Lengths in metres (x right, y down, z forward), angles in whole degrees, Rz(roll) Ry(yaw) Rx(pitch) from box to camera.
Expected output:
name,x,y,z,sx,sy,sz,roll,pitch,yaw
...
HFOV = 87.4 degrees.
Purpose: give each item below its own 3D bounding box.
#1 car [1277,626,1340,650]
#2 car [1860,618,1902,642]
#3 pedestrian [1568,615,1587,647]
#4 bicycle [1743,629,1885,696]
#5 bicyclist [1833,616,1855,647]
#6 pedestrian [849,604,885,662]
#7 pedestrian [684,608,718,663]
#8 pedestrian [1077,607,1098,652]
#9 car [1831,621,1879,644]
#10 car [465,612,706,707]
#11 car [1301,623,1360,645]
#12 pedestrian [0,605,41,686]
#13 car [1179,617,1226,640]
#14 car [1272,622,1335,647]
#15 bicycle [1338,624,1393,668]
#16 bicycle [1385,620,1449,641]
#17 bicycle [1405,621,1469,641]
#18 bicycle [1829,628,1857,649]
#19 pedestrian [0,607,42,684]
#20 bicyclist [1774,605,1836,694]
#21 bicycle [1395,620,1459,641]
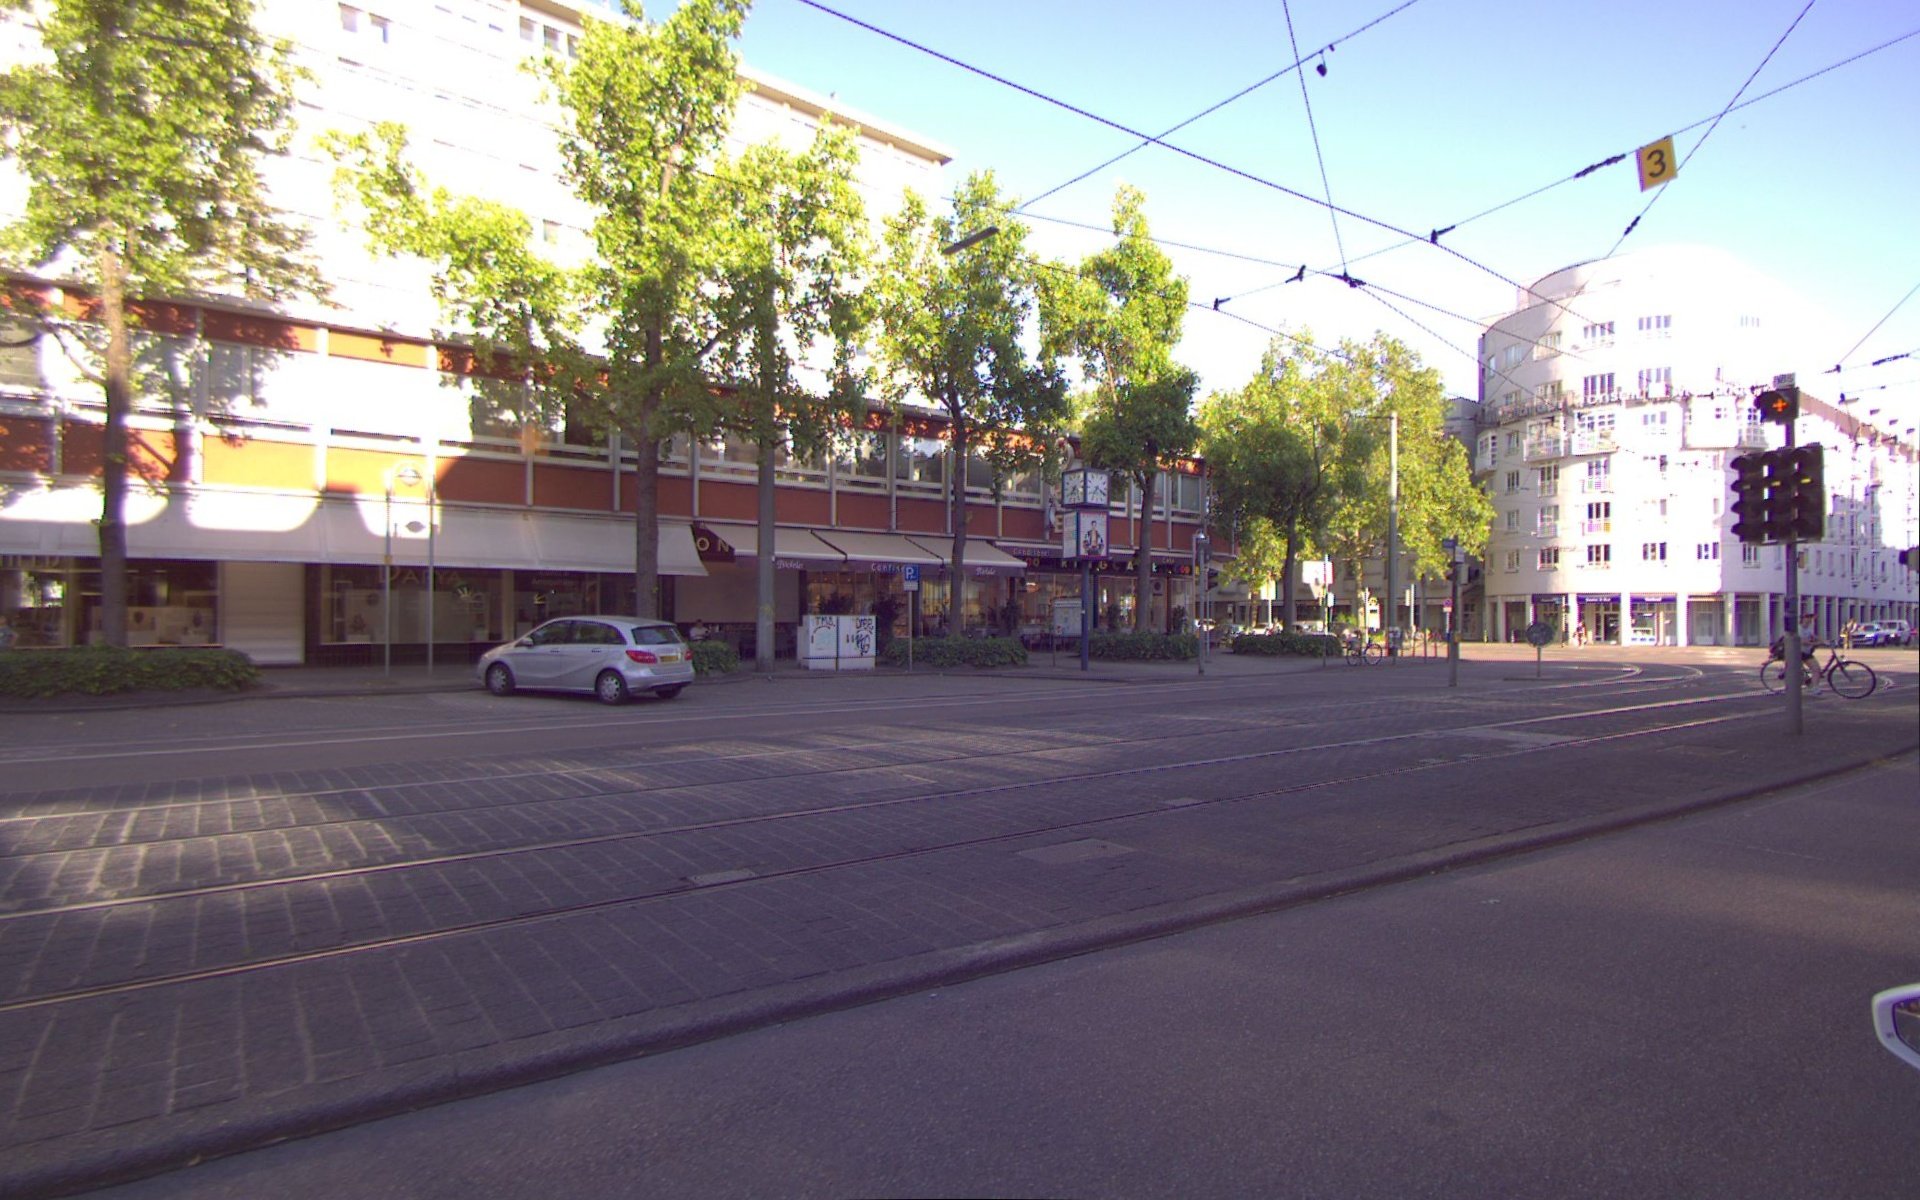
name,x,y,z,sx,sy,sz,roll,pitch,yaw
car,20.521,2.222,59.316,1.740,1.312,4.010,0,-1,-11
car,67.296,2.200,73.390,3.531,1.741,1.689,1,-1,-37
pedestrian,39.618,2.005,64.417,0.929,2.040,0.939,0,-1,26
bicycle,16.442,1.170,19.390,0.621,1.193,2.007,1,-1,-33
bicyclist,50.350,1.779,57.222,0.787,1.749,0.802,1,-1,-37
pedestrian,-2.837,0.986,30.603,0.867,1.745,0.699,0,1,-38
pedestrian,-7.635,1.043,29.585,0.700,1.584,0.866,1,-1,-37
pedestrian,5.020,1.166,39.571,0.590,1.745,0.647,0,1,-18
car,61.347,2.200,68.844,3.428,1.566,1.753,1,-1,-36
car,-7.186,1.081,19.306,4.197,1.587,1.827,1,-1,22
car,26.897,2.454,73.026,1.598,1.551,3.967,0,-1,-31
pedestrian,-18.196,0.859,19.189,0.893,1.517,0.681,1,-1,-39
car,21.529,2.497,89.162,3.959,1.990,1.981,1,-1,-35
car,22.031,2.189,64.546,1.607,1.579,3.995,0,-1,-23
bicycle,13.156,1.479,32.585,1.886,1.345,0.666,1,2,-34
bicycle,35.377,2.369,77.836,1.055,1.550,4.677,1,-1,-32
bicycle,37.607,2.402,79.290,1.055,1.550,4.677,1,-1,-32
bicycle,50.256,2.161,57.152,2.030,1.162,0.802,1,-1,-37
pedestrian,-18.669,0.892,19.713,0.893,1.490,0.681,1,-1,-39
bicyclist,16.117,0.925,19.160,0.757,1.648,0.725,1,-1,-33
bicycle,36.373,2.370,78.372,1.055,1.550,4.677,1,-1,-32
